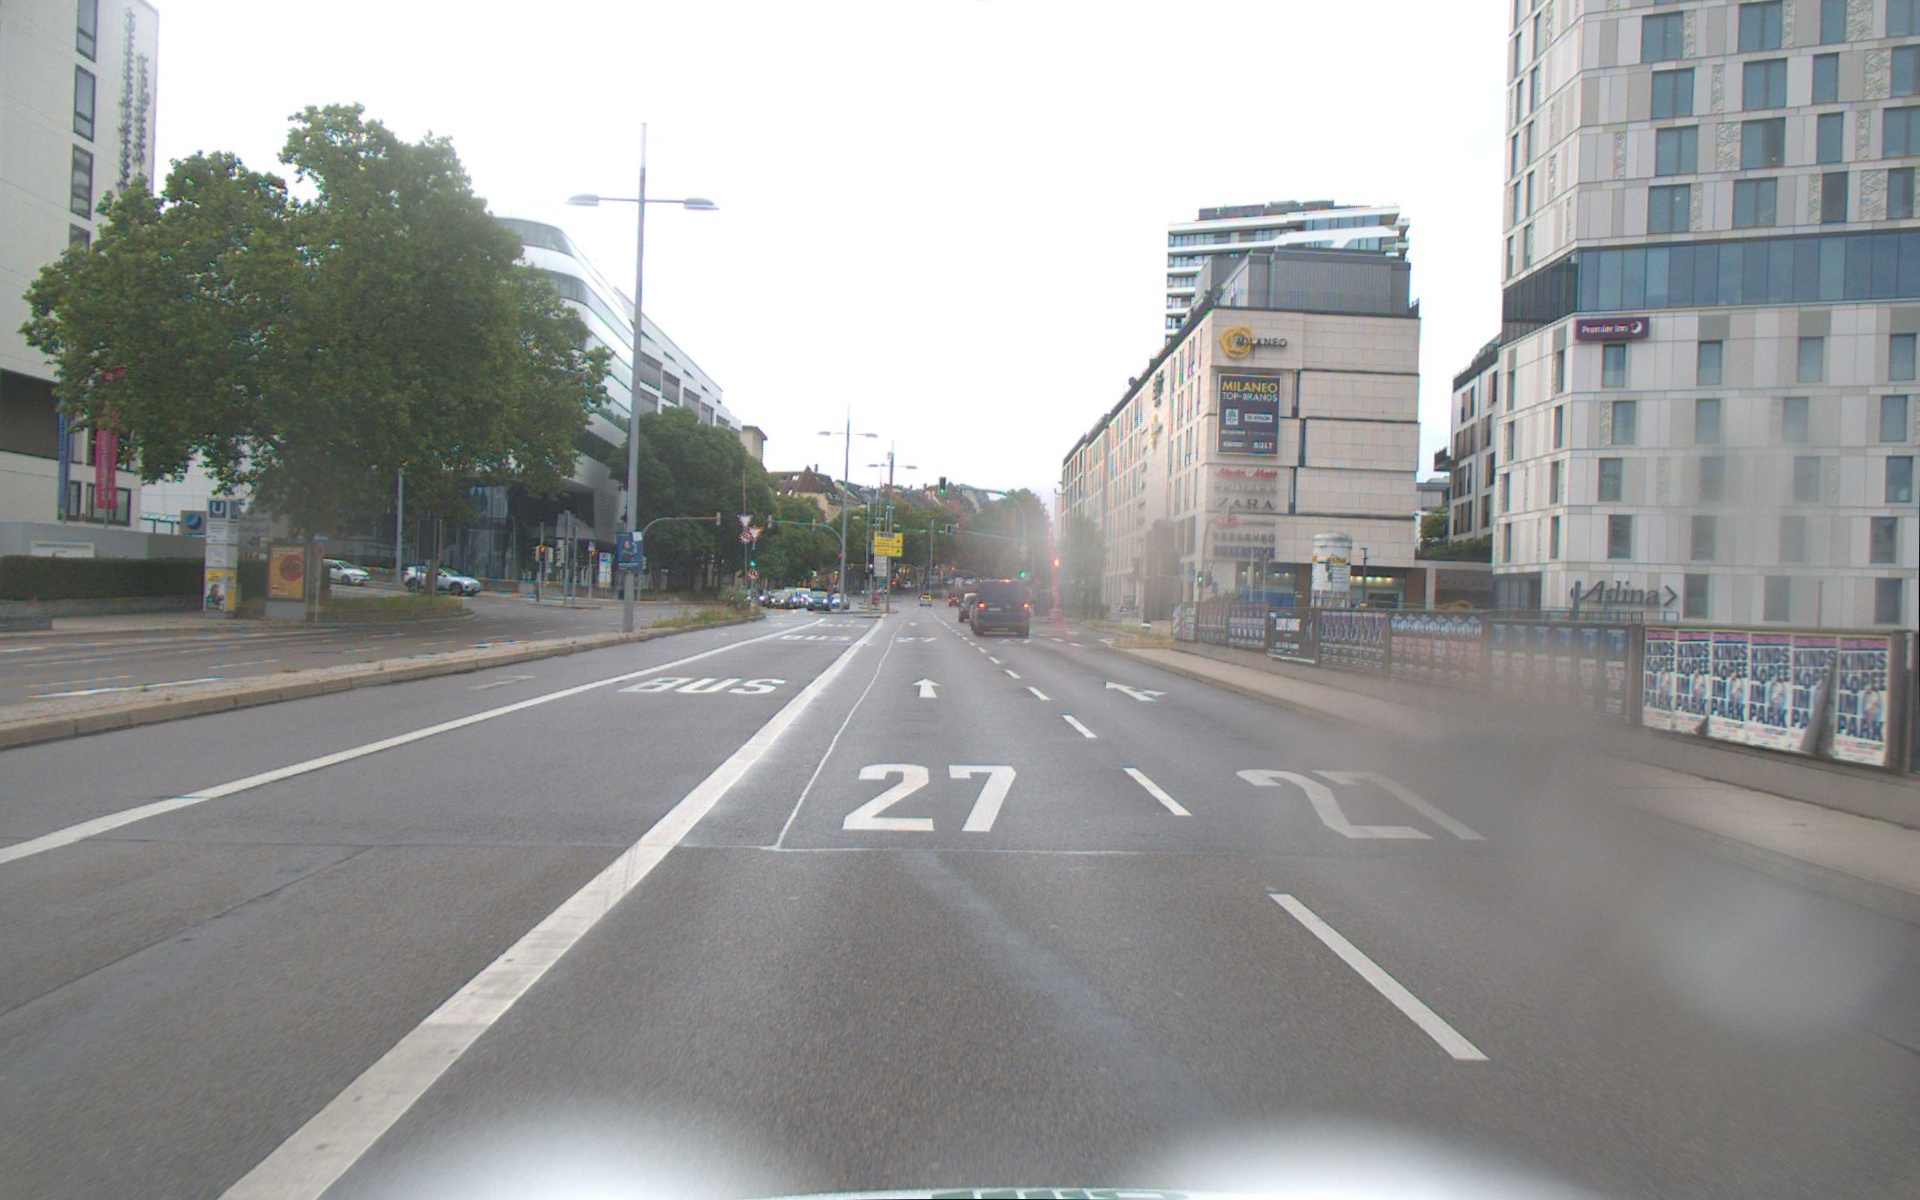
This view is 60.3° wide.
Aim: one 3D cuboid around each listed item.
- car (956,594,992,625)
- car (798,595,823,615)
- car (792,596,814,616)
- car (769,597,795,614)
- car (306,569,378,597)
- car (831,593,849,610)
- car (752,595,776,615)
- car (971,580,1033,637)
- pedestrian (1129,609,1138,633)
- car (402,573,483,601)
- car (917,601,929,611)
[{"bbox_3d":[0.715,0.510,85.909,1.704,1.558,3.813,1,-1,-1],"label":"car"},{"bbox_3d":[-11.771,0.378,130.078,1.708,1.470,3.394,1,-1,-1],"label":"car"},{"bbox_3d":[-14.397,0.572,152.053,1.708,1.779,3.538,1,-1,-1],"label":"car"},{"bbox_3d":[-14.058,0.455,131.047,1.708,1.279,3.539,2,0,-1],"label":"car"},{"bbox_3d":[-39.318,-1.064,105.281,3.902,1.660,1.896,1,-1,15],"label":"car"},{"bbox_3d":[-11.202,0.134,154.479,1.507,1.503,3.695,1,-1,-1],"label":"car"},{"bbox_3d":[-17.084,0.450,143.934,1.708,1.586,3.538,1,-1,-1],"label":"car"},{"bbox_3d":[1.473,0.266,59.924,1.991,1.915,5.041,-1,1,-1],"label":"car"},{"bbox_3d":[12.162,1.487,115.911,0.539,1.639,0.698,1,-1,-1],"label":"pedestrian"},{"bbox_3d":[-32.200,-0.823,102.917,4.406,1.660,1.896,1,-1,15],"label":"car"},{"bbox_3d":[-5.733,0.937,256.924,1.704,1.558,3.814,1,0,0],"label":"car"}]
